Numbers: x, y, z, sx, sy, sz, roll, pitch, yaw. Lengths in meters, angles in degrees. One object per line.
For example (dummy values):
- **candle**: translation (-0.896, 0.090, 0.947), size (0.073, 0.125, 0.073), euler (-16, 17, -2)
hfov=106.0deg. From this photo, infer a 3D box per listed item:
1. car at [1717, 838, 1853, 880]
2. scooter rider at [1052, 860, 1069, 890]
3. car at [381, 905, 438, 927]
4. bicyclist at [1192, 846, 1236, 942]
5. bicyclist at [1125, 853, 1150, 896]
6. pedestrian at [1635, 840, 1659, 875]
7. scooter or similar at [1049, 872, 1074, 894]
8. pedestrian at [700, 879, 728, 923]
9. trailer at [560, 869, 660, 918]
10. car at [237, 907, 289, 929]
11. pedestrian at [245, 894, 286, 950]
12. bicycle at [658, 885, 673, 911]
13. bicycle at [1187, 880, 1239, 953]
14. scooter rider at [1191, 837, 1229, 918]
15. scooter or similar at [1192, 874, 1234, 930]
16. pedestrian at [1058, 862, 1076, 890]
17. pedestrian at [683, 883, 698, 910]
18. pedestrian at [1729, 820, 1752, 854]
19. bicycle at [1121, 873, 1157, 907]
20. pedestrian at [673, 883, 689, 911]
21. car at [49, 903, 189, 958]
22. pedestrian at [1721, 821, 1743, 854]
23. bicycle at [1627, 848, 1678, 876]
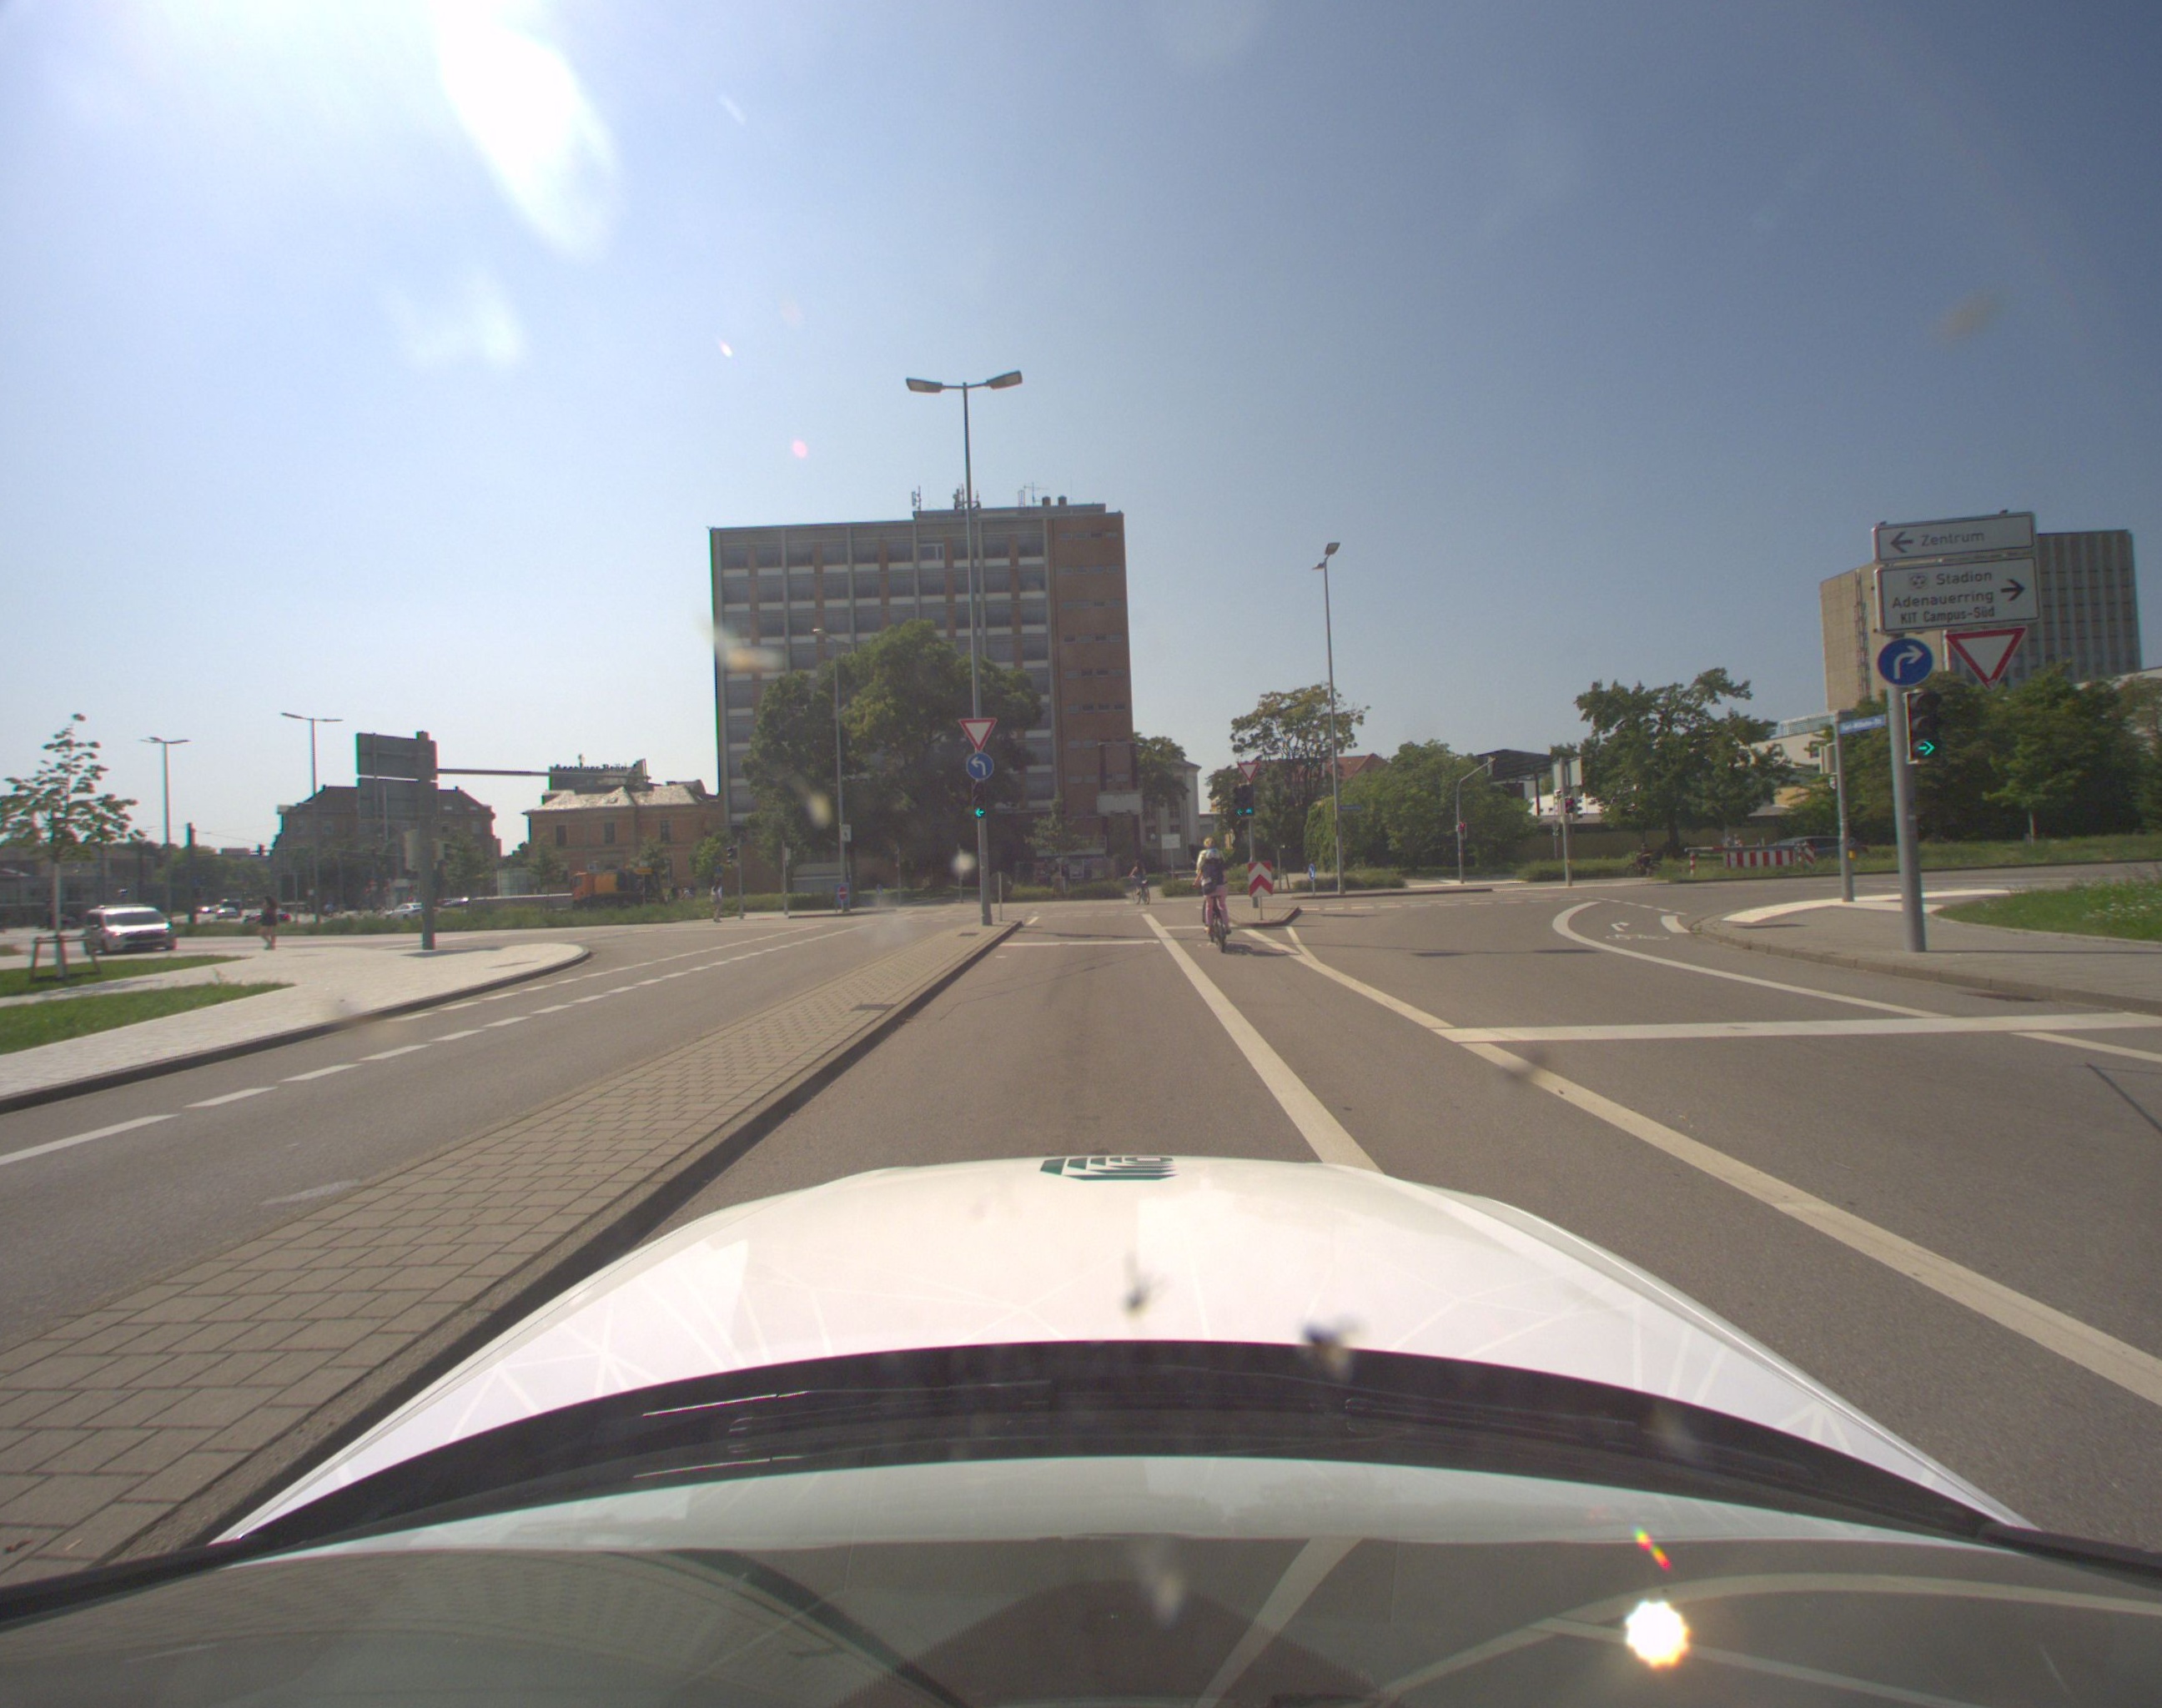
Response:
- **car**: translation (26.330, 0.229, 30.551), size (3.397, 1.357, 1.794), euler (-3, -3, 4)
- **scooter rider**: translation (-1.234, 1.276, 49.583), size (0.796, 1.739, 0.692), euler (-3, -1, 17)
- **car**: translation (-48.980, 4.493, 59.352), size (4.368, 1.455, 1.774), euler (-3, -2, 30)
- **bicyclist**: translation (2.152, 0.636, 13.259), size (0.547, 1.496, 0.803), euler (-2, -1, 0)
- **bicyclist**: translation (2.160, 0.770, 31.328), size (0.691, 1.598, 0.840), euler (-4, 1, -12)
- **pedestrian**: translation (27.132, 0.165, 39.065), size (0.544, 1.669, 0.782), euler (-3, -1, 6)
- **scooter or similar**: translation (-1.201, 1.773, 49.640), size (1.353, 1.234, 0.588), euler (-3, -1, 17)
- **pedestrian**: translation (-14.571, 1.854, 32.331), size (0.600, 1.695, 0.703), euler (-3, -1, 18)
- **trailer**: translation (-30.938, 2.603, 53.489), size (6.247, 3.008, 2.484), euler (-3, -3, 24)
- **car**: translation (-56.651, 4.429, 56.362), size (3.929, 1.404, 1.775), euler (-3, -2, 33)
- **pedestrian**: translation (-26.000, 2.166, 25.961), size (0.778, 1.702, 0.631), euler (-3, -1, 21)
- **bicycle**: translation (-30.000, 3.180, 58.837), size (1.345, 1.860, 0.460), euler (-4, -2, 41)
- **bicycle**: translation (2.176, 1.002, 13.641), size (0.554, 1.060, 2.004), euler (-1, 0, 1)
- **scooter rider**: translation (2.783, 0.501, 17.588), size (0.668, 1.699, 0.539), euler (-3, -1, 0)
- **scooter or similar**: translation (2.806, 1.000, 17.442), size (0.554, 1.060, 2.004), euler (-3, 0, 1)
- **pedestrian**: translation (-0.864, 1.377, 51.723), size (0.869, 1.704, 0.711), euler (-3, 0, 18)
- **pedestrian**: translation (-29.220, 3.176, 60.934), size (0.744, 1.973, 0.785), euler (-4, -2, 44)
- **pedestrian**: translation (35.552, -0.923, 43.911), size (0.583, 1.771, 0.695), euler (-3, -1, 6)
- **bicycle**: translation (2.207, 1.354, 31.291), size (0.694, 1.155, 2.362), euler (-3, 1, -11)
- **pedestrian**: translation (-29.411, 3.143, 59.878), size (0.744, 1.973, 0.785), euler (-4, -2, 44)
- **car**: translation (-38.030, 3.022, 32.218), size (4.285, 1.859, 2.010), euler (-3, 1, 18)
- **pedestrian**: translation (35.656, -0.907, 44.619), size (0.583, 1.771, 0.695), euler (-3, -1, 6)
- **bicycle**: translation (27.382, 0.389, 39.041), size (1.774, 1.212, 0.787), euler (-3, -1, 5)
